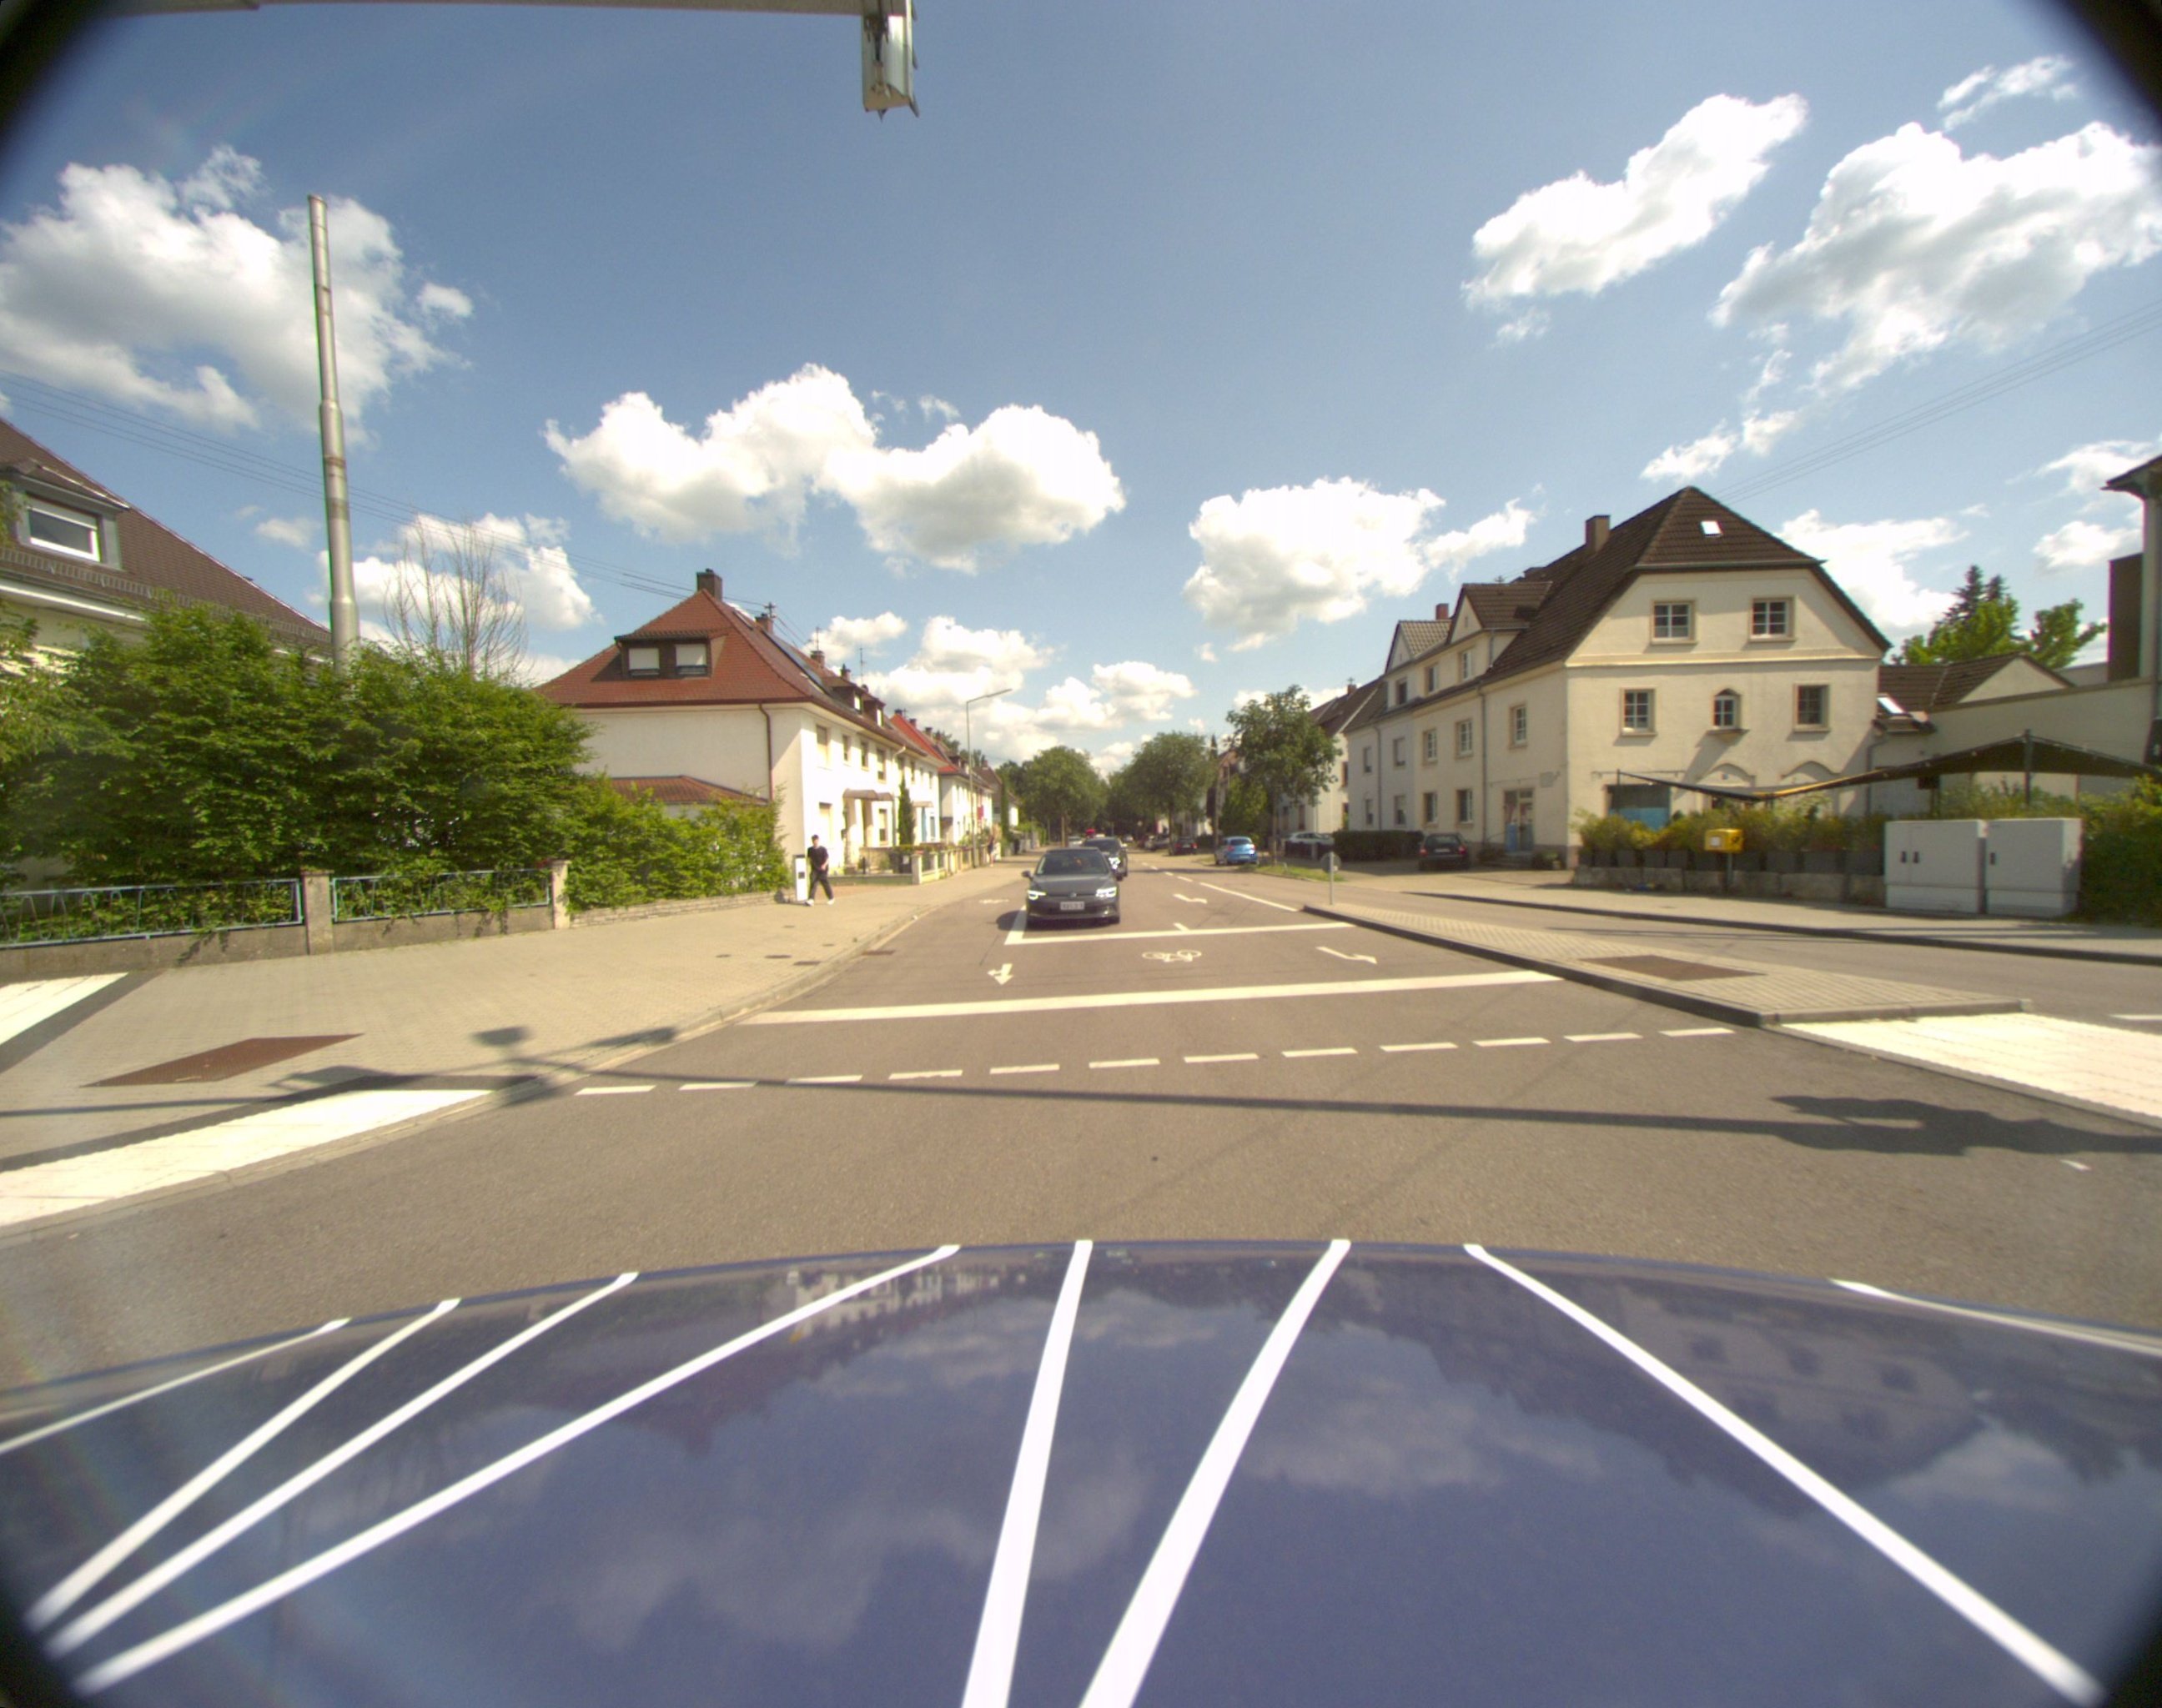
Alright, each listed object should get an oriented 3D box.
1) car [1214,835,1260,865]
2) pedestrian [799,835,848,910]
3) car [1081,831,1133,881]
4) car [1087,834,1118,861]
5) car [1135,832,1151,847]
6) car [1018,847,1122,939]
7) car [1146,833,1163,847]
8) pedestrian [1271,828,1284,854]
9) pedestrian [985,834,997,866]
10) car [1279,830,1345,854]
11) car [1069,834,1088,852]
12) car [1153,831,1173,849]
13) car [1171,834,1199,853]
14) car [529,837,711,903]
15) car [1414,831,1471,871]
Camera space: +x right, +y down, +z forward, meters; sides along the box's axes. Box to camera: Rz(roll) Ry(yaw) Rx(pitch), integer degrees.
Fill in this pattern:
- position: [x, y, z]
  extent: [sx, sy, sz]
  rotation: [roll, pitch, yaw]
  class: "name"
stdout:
- position: [8.187, -0.256, 40.066]
  extent: [1.710, 1.454, 3.153]
  rotation: [-1, 2, -1]
  class: "car"
- position: [-6.169, 0.418, 18.231]
  extent: [0.591, 1.758, 0.939]
  rotation: [0, 2, 22]
  class: "pedestrian"
- position: [0.942, -0.012, 29.708]
  extent: [1.776, 1.754, 4.872]
  rotation: [-1, 2, 0]
  class: "car"
- position: [1.265, -0.405, 44.976]
  extent: [1.709, 1.454, 3.153]
  rotation: [-1, 2, 0]
  class: "car"
- position: [7.074, -1.710, 86.861]
  extent: [1.562, 1.645, 3.250]
  rotation: [-1, 2, 2]
  class: "car"
- position: [-0.289, 0.654, 15.494]
  extent: [1.767, 1.466, 4.684]
  rotation: [-1, 2, -3]
  class: "car"
- position: [7.538, -1.454, 77.835]
  extent: [1.623, 1.417, 3.001]
  rotation: [-2, 2, 5]
  class: "car"
- position: [12.000, -0.792, 46.386]
  extent: [0.631, 1.527, 0.618]
  rotation: [-1, 2, 4]
  class: "pedestrian"
- position: [-4.827, -0.212, 40.628]
  extent: [0.519, 1.702, 0.618]
  rotation: [-1, 2, 1]
  class: "pedestrian"
- position: [14.921, -0.811, 49.190]
  extent: [3.805, 1.446, 1.710]
  rotation: [-1, 2, 2]
  class: "car"
- position: [-0.224, -1.015, 68.110]
  extent: [1.381, 1.494, 3.001]
  rotation: [-2, 2, 5]
  class: "car"
- position: [7.747, -1.367, 71.862]
  extent: [1.562, 1.645, 3.572]
  rotation: [-1, 2, 2]
  class: "car"
- position: [7.879, -0.829, 57.727]
  extent: [1.709, 1.289, 3.917]
  rotation: [-1, 2, 2]
  class: "car"
- position: [-13.036, 0.423, 21.683]
  extent: [3.996, 1.699, 1.867]
  rotation: [-1, 2, 2]
  class: "car"
- position: [14.126, -0.157, 29.586]
  extent: [1.757, 1.378, 4.109]
  rotation: [0, 2, 29]
  class: "car"
